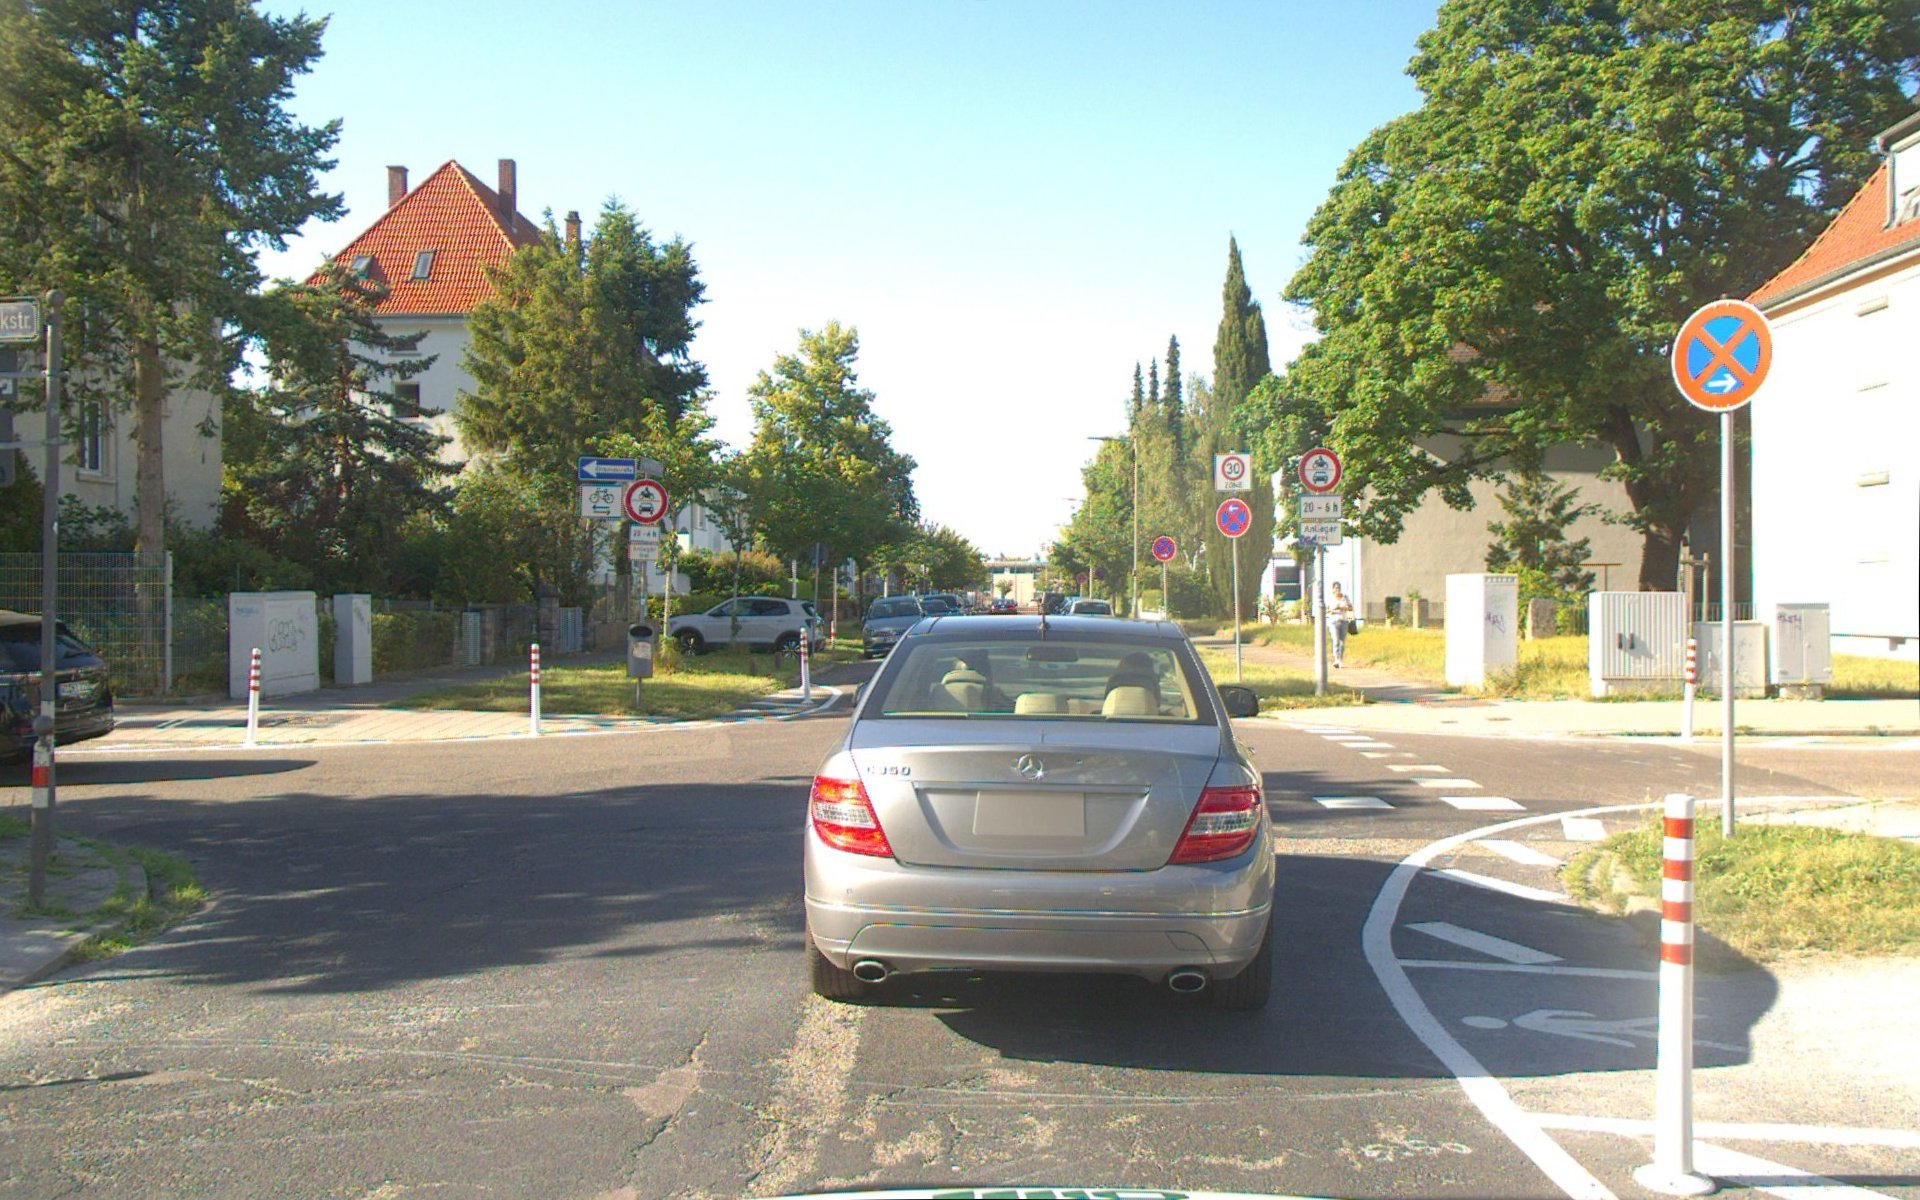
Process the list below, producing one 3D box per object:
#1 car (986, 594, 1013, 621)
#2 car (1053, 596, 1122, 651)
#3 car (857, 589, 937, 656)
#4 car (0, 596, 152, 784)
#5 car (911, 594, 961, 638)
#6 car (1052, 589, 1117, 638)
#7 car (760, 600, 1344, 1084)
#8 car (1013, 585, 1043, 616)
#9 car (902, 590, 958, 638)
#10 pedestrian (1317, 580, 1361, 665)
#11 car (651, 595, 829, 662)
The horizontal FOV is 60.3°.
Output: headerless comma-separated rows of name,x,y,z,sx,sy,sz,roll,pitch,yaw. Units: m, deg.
car,2.457,0.454,102.709,1.564,1.638,3.644,-1,0,0
car,3.625,0.643,47.556,1.698,1.505,3.725,-1,0,0
car,-1.676,0.587,45.453,1.953,1.637,4.000,-4,0,0
car,-9.993,0.772,14.666,4.643,1.551,2.000,-1,0,-1
car,-0.966,0.641,69.053,1.953,1.637,4.000,-4,0,0
car,4.358,0.439,58.449,1.953,1.638,4.000,-1,0,0
car,0.383,0.741,7.107,1.798,1.466,4.002,0,0,3
car,4.228,0.000,103.184,1.816,1.873,4.001,-1,0,1
car,-1.108,0.518,63.259,1.953,1.637,4.000,-4,0,0
pedestrian,7.422,0.440,32.418,0.750,1.639,0.835,-1,0,7
car,-5.323,0.682,40.397,4.107,1.591,1.842,0,0,-1
